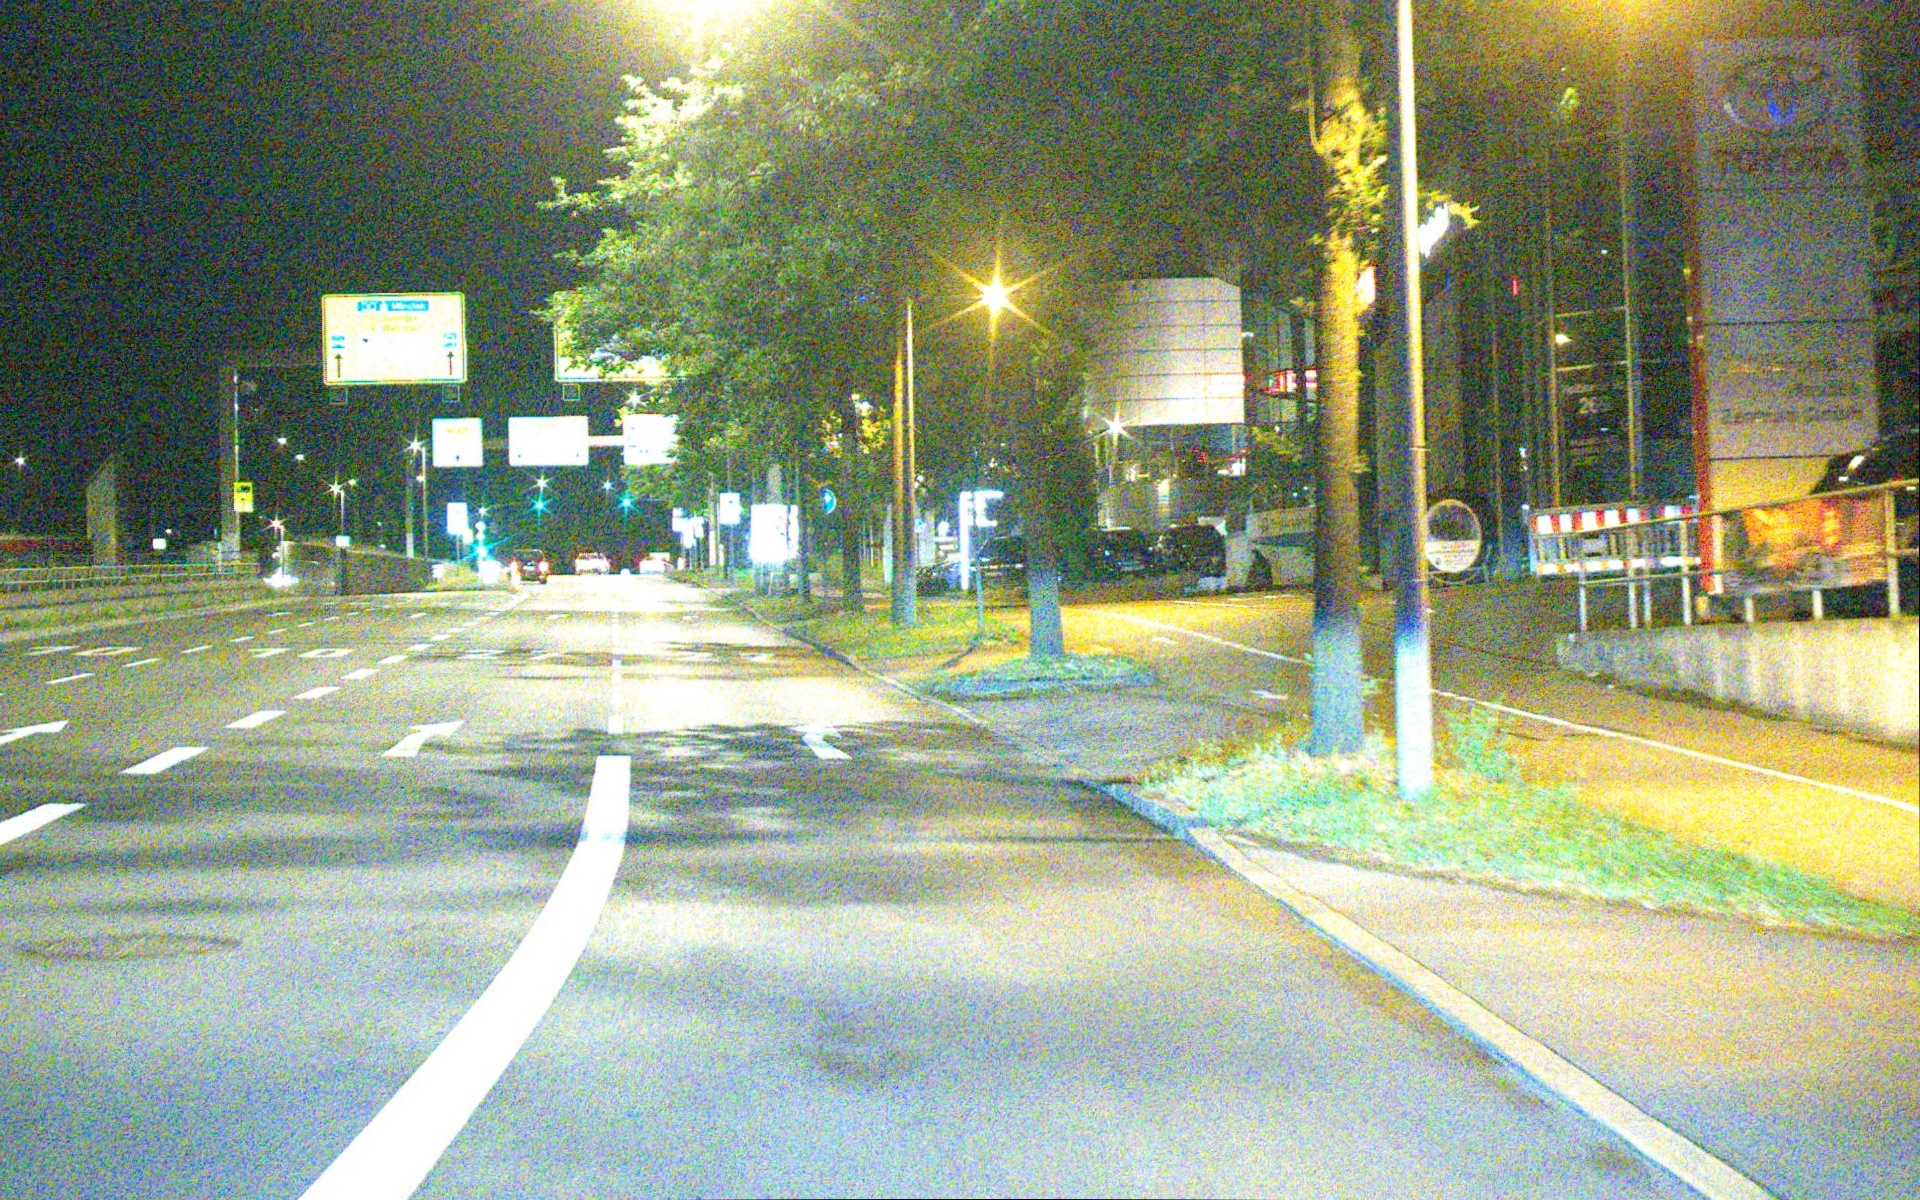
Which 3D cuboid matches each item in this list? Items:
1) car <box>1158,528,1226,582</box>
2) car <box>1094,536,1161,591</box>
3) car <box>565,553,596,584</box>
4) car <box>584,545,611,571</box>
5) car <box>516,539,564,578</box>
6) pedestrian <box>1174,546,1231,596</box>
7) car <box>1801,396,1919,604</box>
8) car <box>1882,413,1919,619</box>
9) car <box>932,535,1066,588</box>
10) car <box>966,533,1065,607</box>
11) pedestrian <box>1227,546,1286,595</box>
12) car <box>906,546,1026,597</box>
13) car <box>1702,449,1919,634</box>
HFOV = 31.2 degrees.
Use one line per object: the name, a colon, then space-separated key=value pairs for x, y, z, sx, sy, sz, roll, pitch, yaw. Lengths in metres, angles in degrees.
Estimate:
car: x=6.953 y=-1.328 z=103.308 sx=1.892 sy=1.506 sz=3.636 roll=1 pitch=-1 yaw=1
car: x=4.954 y=-1.068 z=102.056 sx=1.892 sy=1.506 sz=3.636 roll=1 pitch=-1 yaw=1
car: x=-25.532 y=-2.098 z=231.373 sx=1.993 sy=2.007 sz=4.000 roll=1 pitch=-1 yaw=-6
car: x=-25.144 y=-2.903 z=238.472 sx=1.780 sy=1.722 sz=4.000 roll=1 pitch=-1 yaw=-6
car: x=-19.875 y=-1.968 z=162.788 sx=1.967 sy=1.705 sz=4.000 roll=1 pitch=-1 yaw=-3
pedestrian: x=5.135 y=-0.620 z=72.756 sx=0.912 sy=1.035 sz=0.770 roll=-1 pitch=0 yaw=38
car: x=8.767 y=-0.845 z=27.362 sx=3.561 sy=1.564 sz=1.727 roll=-3 pitch=0 yaw=-9
car: x=8.837 y=-0.697 z=24.891 sx=3.724 sy=1.484 sz=1.742 roll=-2 pitch=-1 yaw=-7
car: x=1.122 y=-1.111 z=99.961 sx=3.623 sy=1.446 sz=1.708 roll=1 pitch=-1 yaw=-9
car: x=1.561 y=-0.819 z=94.892 sx=1.994 sy=1.938 sz=3.998 roll=1 pitch=-1 yaw=12
pedestrian: x=6.286 y=-0.614 z=72.928 sx=0.997 sy=1.004 sz=0.772 roll=1 pitch=-1 yaw=-21
car: x=0.187 y=-0.884 z=107.917 sx=3.509 sy=1.503 sz=1.736 roll=1 pitch=-1 yaw=-9
car: x=8.725 y=-0.564 z=31.066 sx=3.832 sy=1.485 sz=1.739 roll=-3 pitch=-2 yaw=-36
